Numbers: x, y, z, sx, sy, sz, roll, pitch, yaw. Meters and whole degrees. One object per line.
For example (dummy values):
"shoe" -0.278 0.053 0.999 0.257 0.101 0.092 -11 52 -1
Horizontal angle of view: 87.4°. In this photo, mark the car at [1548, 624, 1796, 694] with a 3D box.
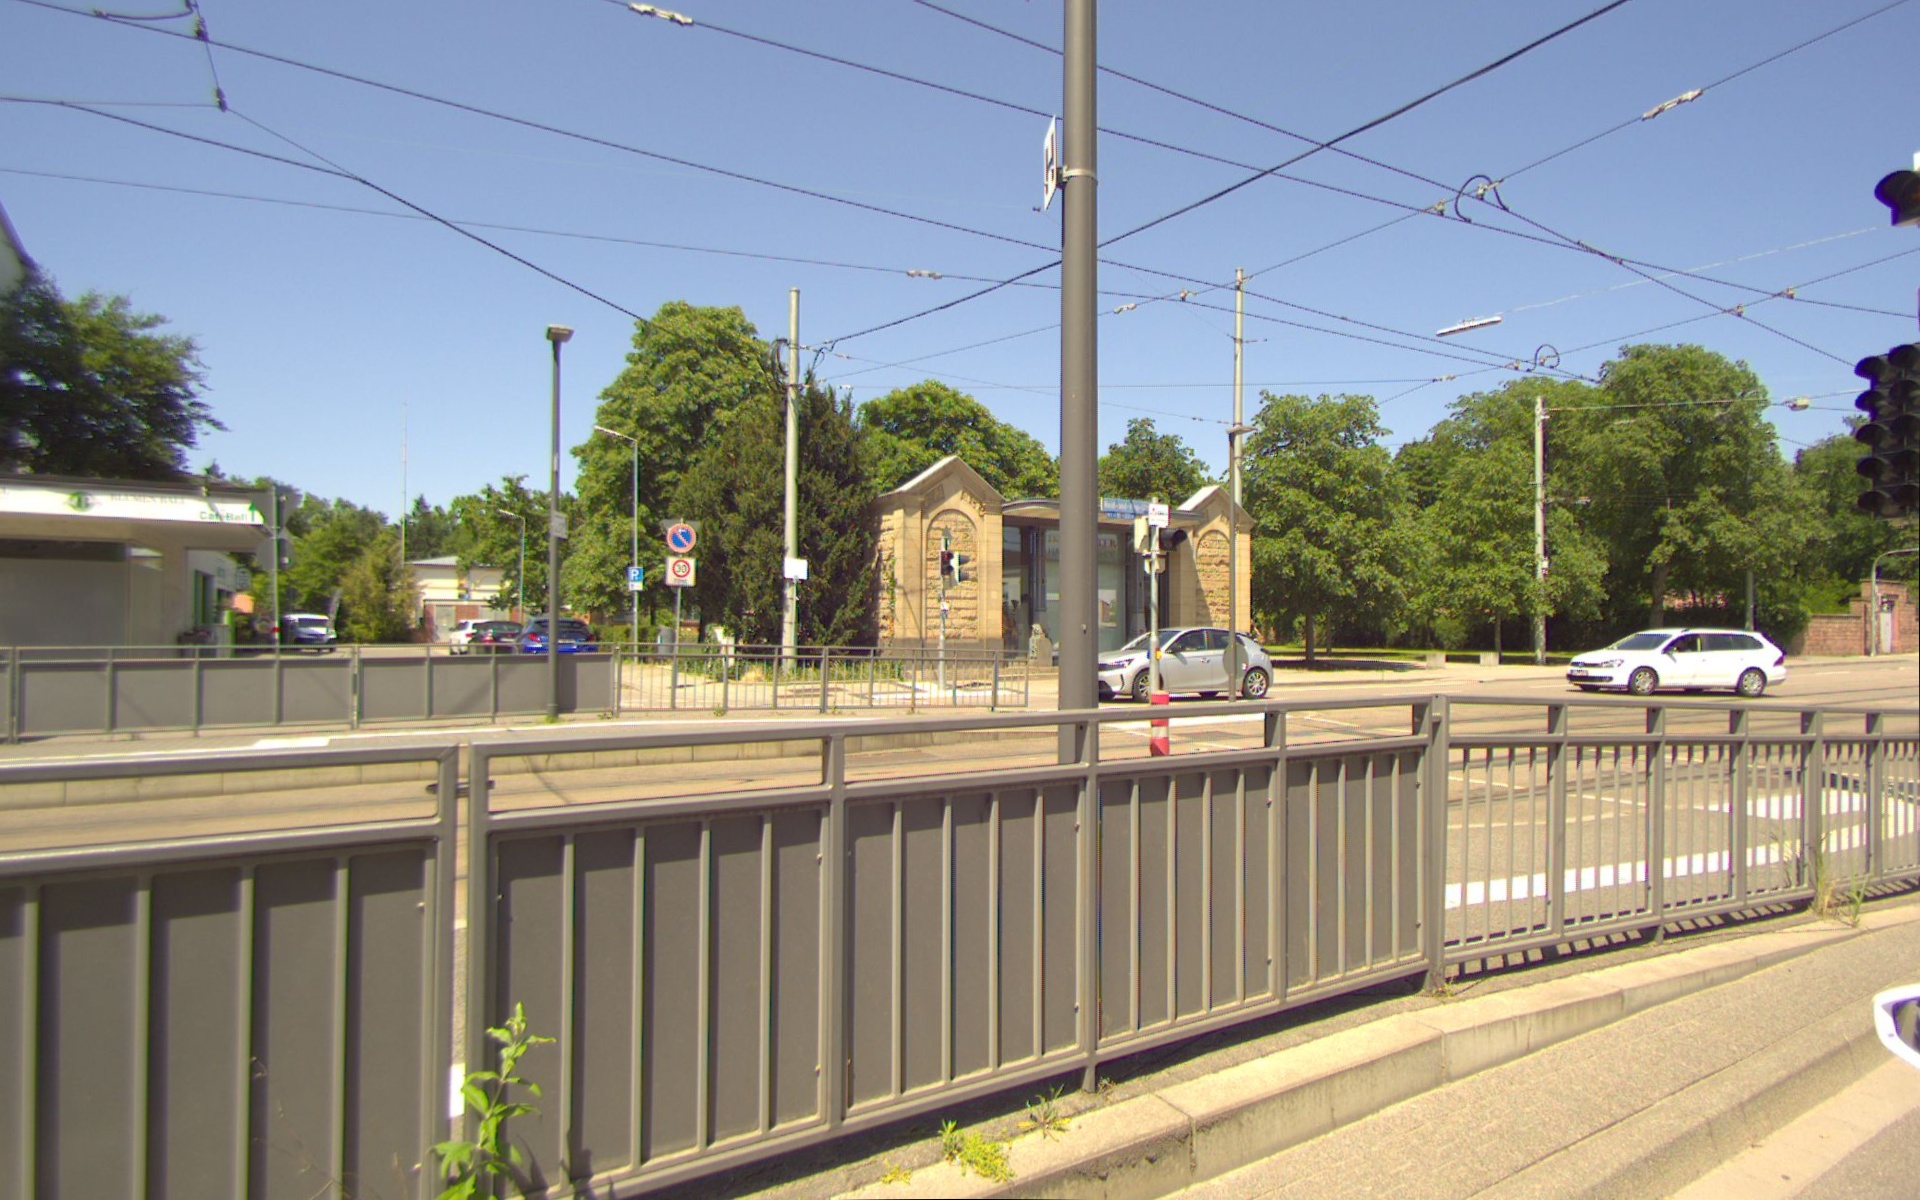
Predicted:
"car" 16.022 1.305 22.741 4.412 1.509 1.823 0 -1 -4

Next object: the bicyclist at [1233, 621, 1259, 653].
"bicyclist" 13.716 1.772 48.168 0.840 1.551 0.841 1 -1 -20

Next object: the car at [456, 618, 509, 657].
"car" -18.825 1.495 39.553 1.625 1.465 3.784 1 -3 -29

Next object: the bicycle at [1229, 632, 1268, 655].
"bicycle" 13.768 2.047 48.012 0.706 1.055 2.095 1 -1 -19

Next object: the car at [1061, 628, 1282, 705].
"car" 4.167 1.247 19.827 3.994 1.381 1.814 1 -1 -23

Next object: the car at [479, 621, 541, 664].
"car" -15.326 1.438 34.112 1.624 1.388 3.785 1 -3 -29

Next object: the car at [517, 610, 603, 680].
"car" -9.938 1.041 24.807 1.799 1.472 3.934 1 1 -25

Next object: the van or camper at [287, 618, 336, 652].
"van or camper" -32.096 1.709 49.700 1.676 1.587 3.784 1 -2 -38

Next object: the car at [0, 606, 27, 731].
"car" -13.101 0.762 10.593 4.426 1.461 1.848 1 -1 -30
